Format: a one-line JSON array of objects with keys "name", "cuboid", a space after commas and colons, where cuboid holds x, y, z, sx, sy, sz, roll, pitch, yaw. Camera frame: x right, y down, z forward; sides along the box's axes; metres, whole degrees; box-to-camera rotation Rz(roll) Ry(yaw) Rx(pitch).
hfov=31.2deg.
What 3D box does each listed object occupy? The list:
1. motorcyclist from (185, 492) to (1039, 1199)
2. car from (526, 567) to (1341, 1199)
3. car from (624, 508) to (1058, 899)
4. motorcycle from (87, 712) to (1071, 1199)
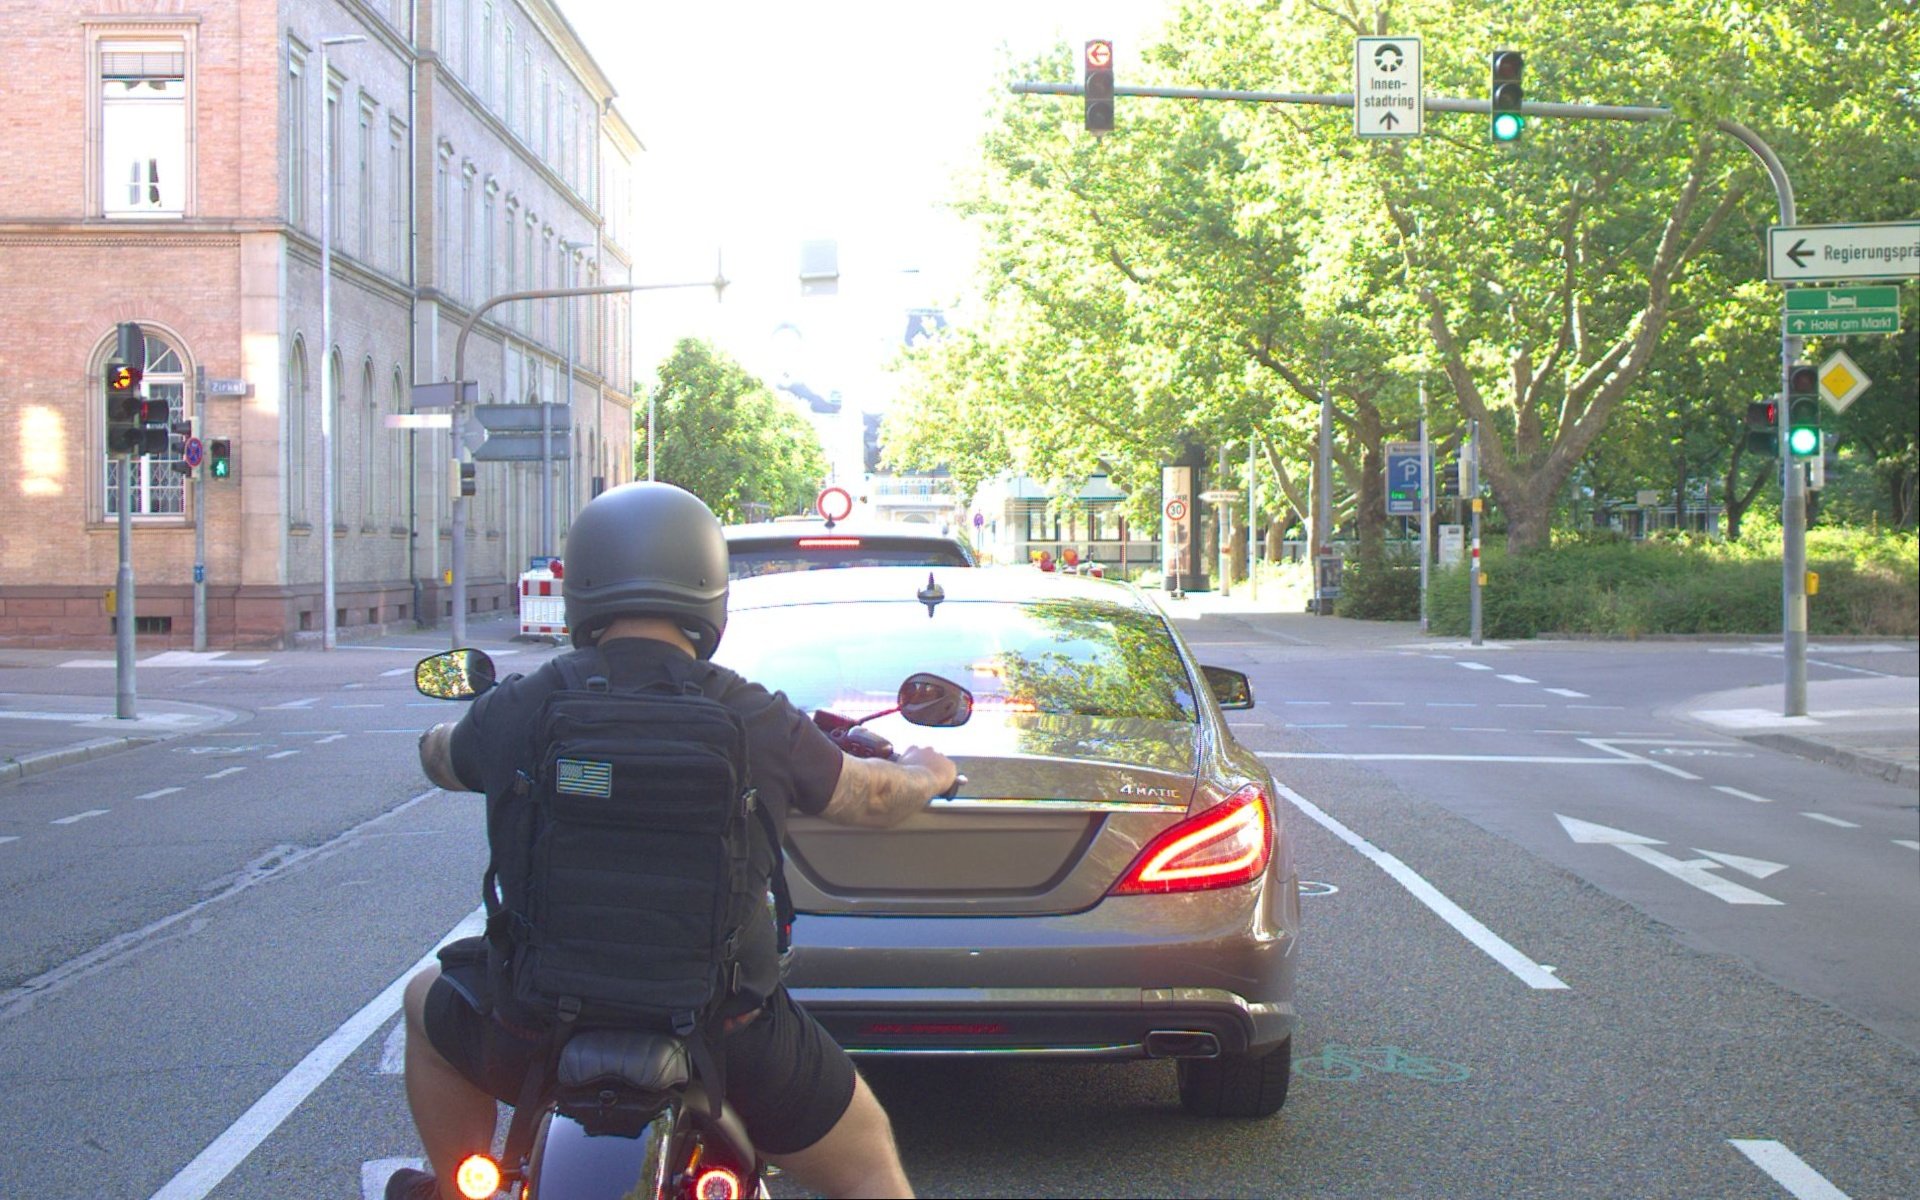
[{"name": "motorcyclist", "cuboid": [-0.479, 0.632, 5.277, 1.099, 1.560, 1.071, 1, 0, 6]}, {"name": "car", "cuboid": [-0.081, 0.638, 9.665, 1.822, 1.432, 3.806, 1, 1, -1]}, {"name": "car", "cuboid": [-0.540, 0.431, 16.942, 1.863, 1.672, 4.000, 1, 1, -1]}, {"name": "motorcycle", "cuboid": [-0.465, 0.836, 5.500, 1.118, 1.203, 2.212, 1, 1, 6]}]
